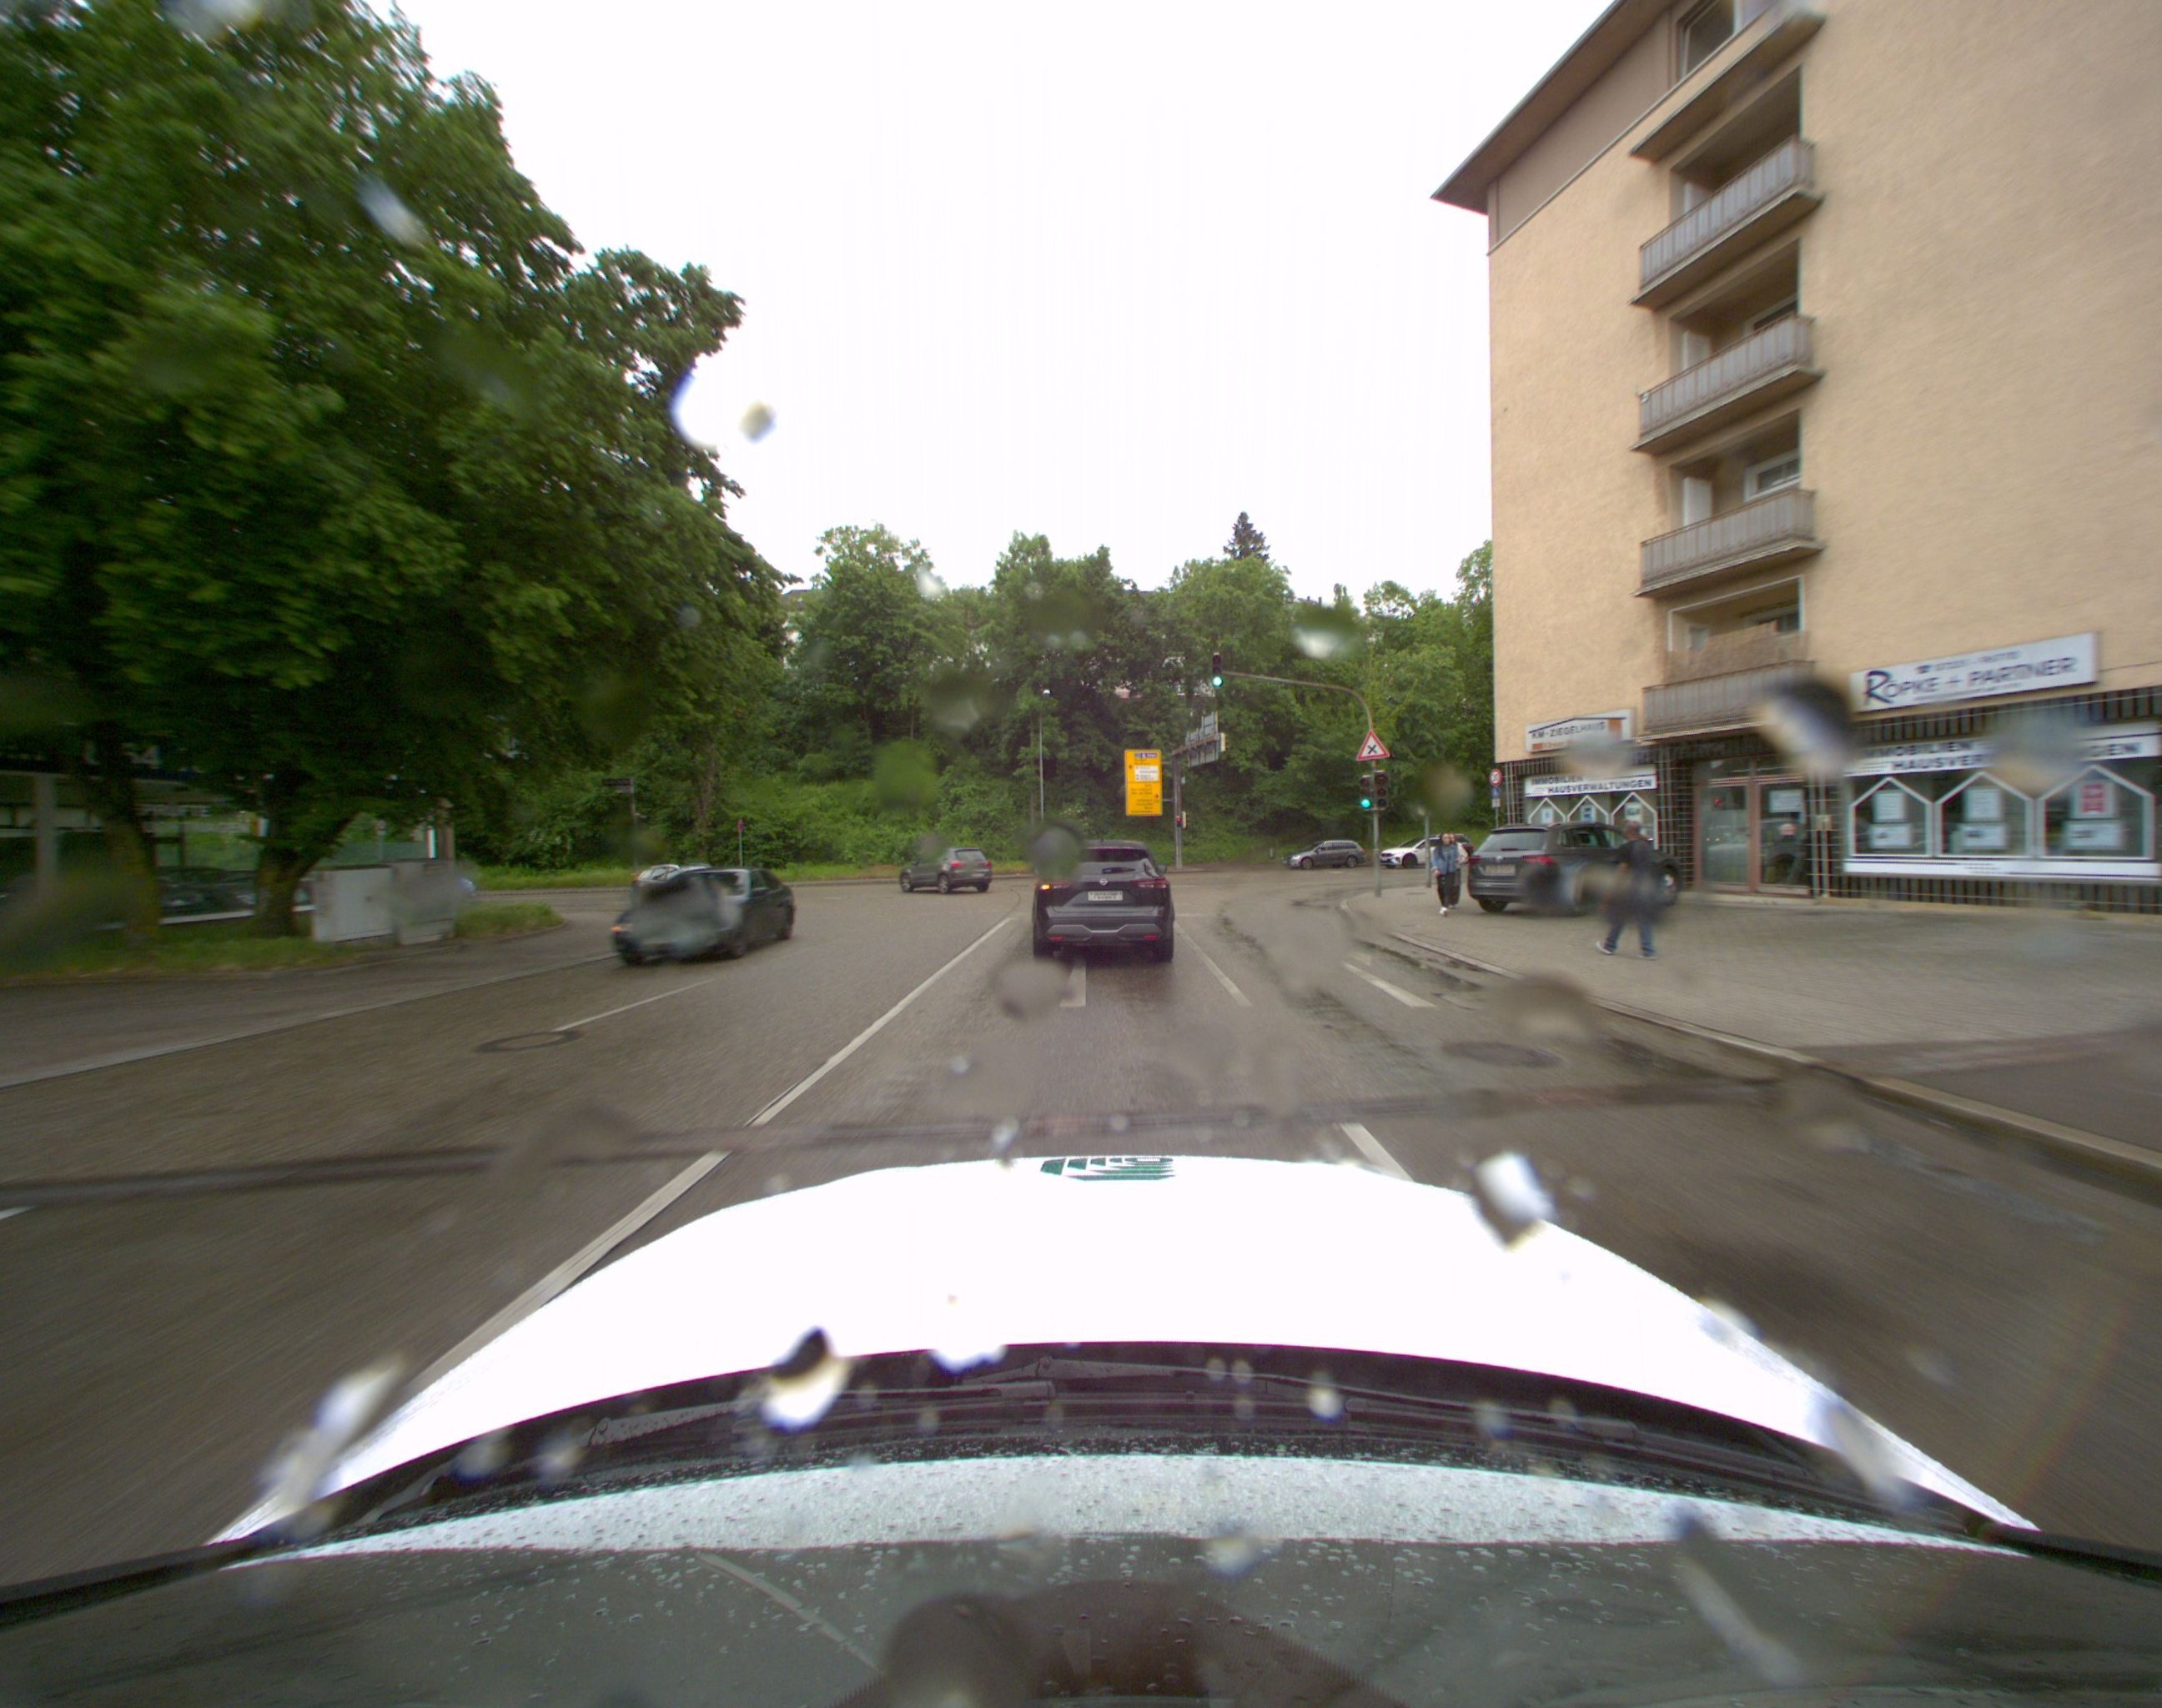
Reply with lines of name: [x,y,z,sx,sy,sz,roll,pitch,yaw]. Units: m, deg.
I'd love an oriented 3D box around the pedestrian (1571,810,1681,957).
pedestrian: [6.637,0.337,9.958,0.758,1.677,0.781,-3,1,1]

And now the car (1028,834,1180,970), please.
car: [0.238,0.552,11.840,1.806,1.602,3.998,-1,1,-1]

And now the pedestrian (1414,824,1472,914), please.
pedestrian: [6.788,0.272,15.307,0.655,1.600,0.795,-4,1,-1]

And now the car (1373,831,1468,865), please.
car: [16.938,-0.304,40.674,4.147,1.561,1.801,-2,1,-13]

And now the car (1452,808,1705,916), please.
car: [9.275,0.086,15.160,4.388,1.649,1.868,-3,1,-25]

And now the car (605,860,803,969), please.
car: [-6.245,0.893,14.100,1.727,1.459,4.418,-2,0,-6]

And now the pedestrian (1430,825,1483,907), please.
pedestrian: [7.571,0.237,16.401,0.753,1.574,0.786,-2,2,37]

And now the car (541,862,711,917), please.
car: [-14.028,1.065,25.248,4.177,1.450,1.818,-2,1,1]

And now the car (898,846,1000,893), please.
car: [-4.884,0.523,29.866,1.827,1.603,3.952,-1,1,-42]

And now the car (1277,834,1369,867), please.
car: [12.896,-0.195,43.507,4.325,1.502,1.877,-3,1,-10]

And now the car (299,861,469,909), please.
car: [-26.283,1.138,30.854,4.602,1.440,1.936,-2,3,-1]
